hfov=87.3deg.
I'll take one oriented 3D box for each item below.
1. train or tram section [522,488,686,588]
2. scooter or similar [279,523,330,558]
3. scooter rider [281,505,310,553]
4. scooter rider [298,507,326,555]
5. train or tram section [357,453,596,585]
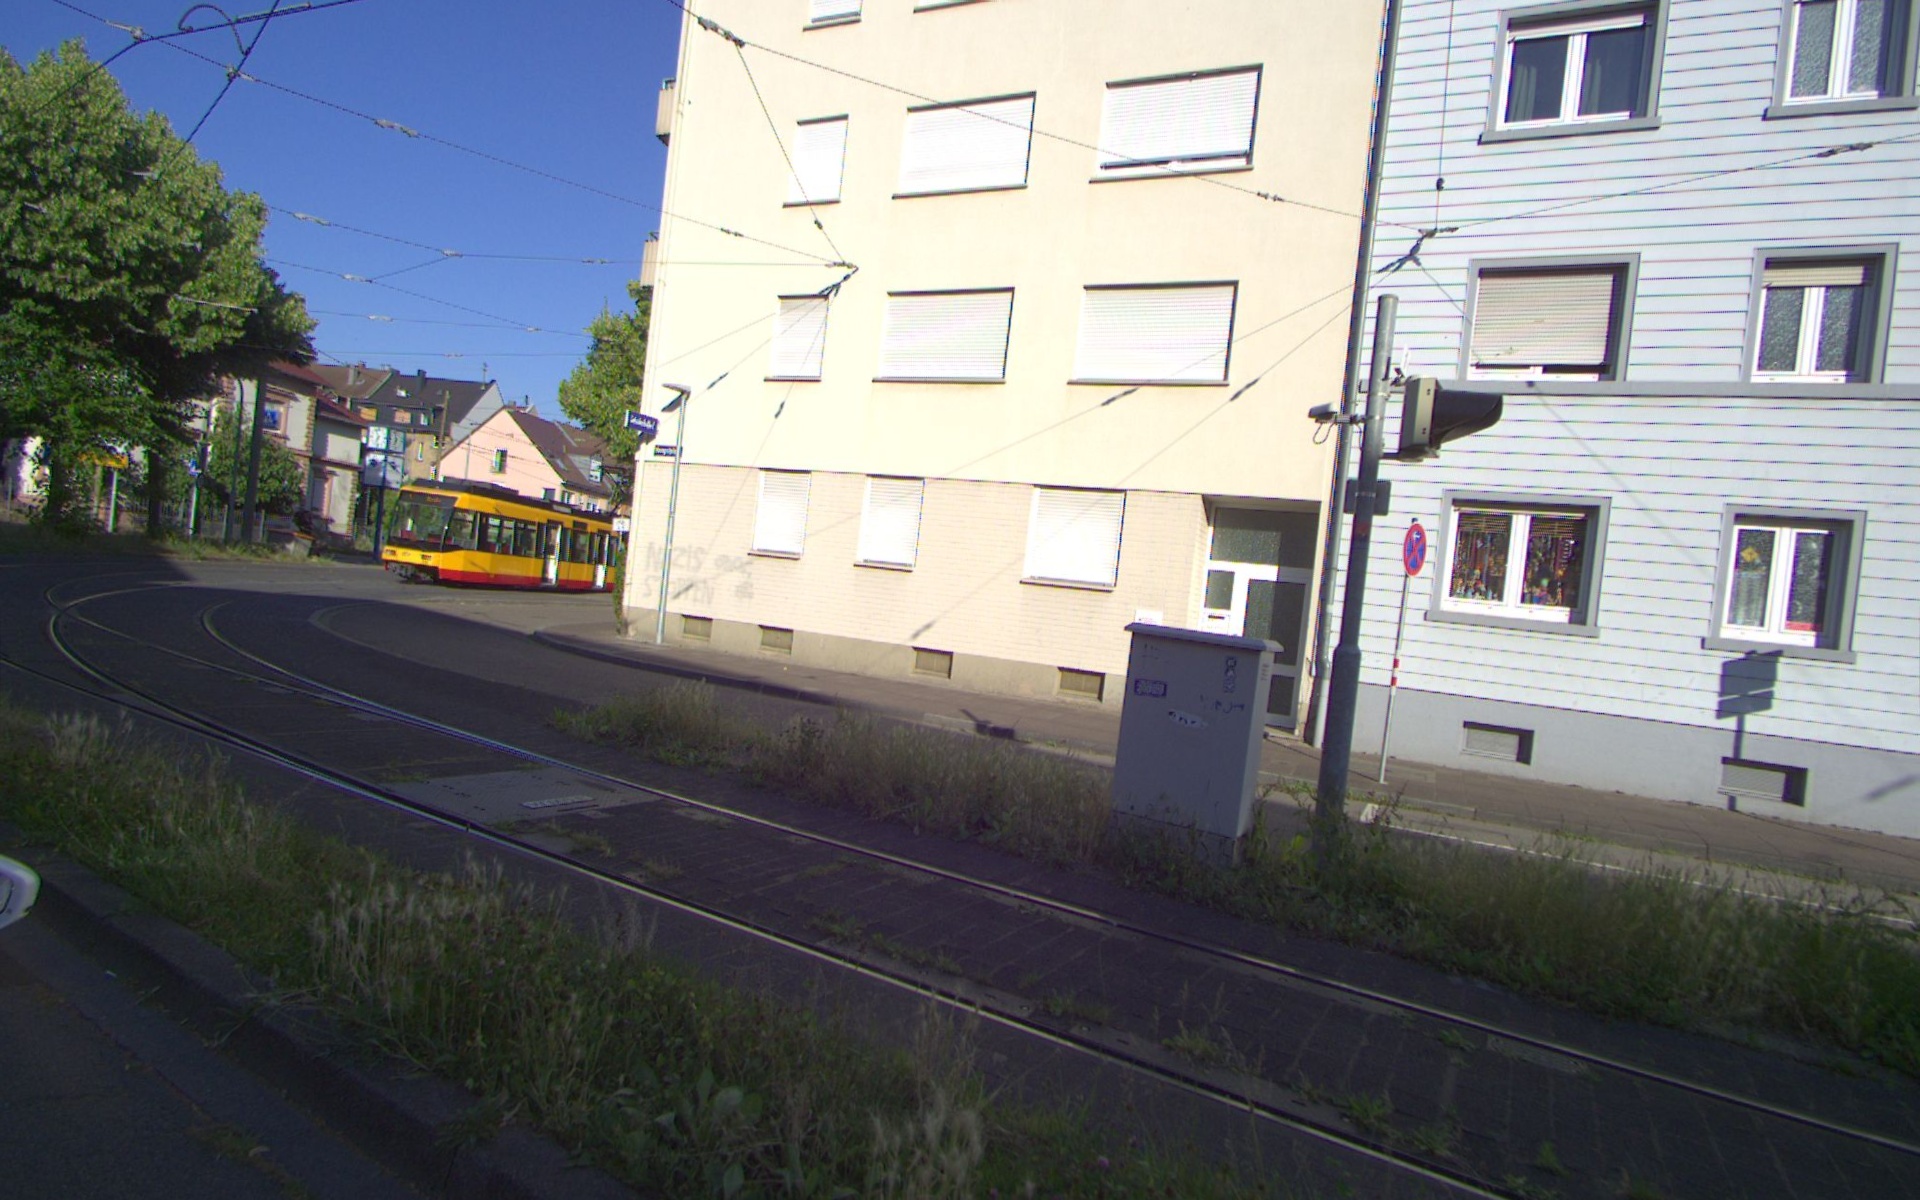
[{"bbox_3d":[-15.601,-2.557,45.151,2.731,3.601,9.918,7,1,5],"label":"train or tram section"},{"bbox_3d":[-24.582,-2.225,37.744,1.383,1.152,0.683,6,2,-13],"label":"scooter or similar"},{"bbox_3d":[-24.862,-2.647,37.663,0.598,1.695,0.653,5,2,-12],"label":"scooter rider"},{"bbox_3d":[-24.318,-2.581,37.760,0.598,1.695,0.653,5,2,-12],"label":"scooter rider"},{"bbox_3d":[-16.375,-2.514,35.268,2.732,3.601,9.917,7,1,4],"label":"train or tram section"}]
